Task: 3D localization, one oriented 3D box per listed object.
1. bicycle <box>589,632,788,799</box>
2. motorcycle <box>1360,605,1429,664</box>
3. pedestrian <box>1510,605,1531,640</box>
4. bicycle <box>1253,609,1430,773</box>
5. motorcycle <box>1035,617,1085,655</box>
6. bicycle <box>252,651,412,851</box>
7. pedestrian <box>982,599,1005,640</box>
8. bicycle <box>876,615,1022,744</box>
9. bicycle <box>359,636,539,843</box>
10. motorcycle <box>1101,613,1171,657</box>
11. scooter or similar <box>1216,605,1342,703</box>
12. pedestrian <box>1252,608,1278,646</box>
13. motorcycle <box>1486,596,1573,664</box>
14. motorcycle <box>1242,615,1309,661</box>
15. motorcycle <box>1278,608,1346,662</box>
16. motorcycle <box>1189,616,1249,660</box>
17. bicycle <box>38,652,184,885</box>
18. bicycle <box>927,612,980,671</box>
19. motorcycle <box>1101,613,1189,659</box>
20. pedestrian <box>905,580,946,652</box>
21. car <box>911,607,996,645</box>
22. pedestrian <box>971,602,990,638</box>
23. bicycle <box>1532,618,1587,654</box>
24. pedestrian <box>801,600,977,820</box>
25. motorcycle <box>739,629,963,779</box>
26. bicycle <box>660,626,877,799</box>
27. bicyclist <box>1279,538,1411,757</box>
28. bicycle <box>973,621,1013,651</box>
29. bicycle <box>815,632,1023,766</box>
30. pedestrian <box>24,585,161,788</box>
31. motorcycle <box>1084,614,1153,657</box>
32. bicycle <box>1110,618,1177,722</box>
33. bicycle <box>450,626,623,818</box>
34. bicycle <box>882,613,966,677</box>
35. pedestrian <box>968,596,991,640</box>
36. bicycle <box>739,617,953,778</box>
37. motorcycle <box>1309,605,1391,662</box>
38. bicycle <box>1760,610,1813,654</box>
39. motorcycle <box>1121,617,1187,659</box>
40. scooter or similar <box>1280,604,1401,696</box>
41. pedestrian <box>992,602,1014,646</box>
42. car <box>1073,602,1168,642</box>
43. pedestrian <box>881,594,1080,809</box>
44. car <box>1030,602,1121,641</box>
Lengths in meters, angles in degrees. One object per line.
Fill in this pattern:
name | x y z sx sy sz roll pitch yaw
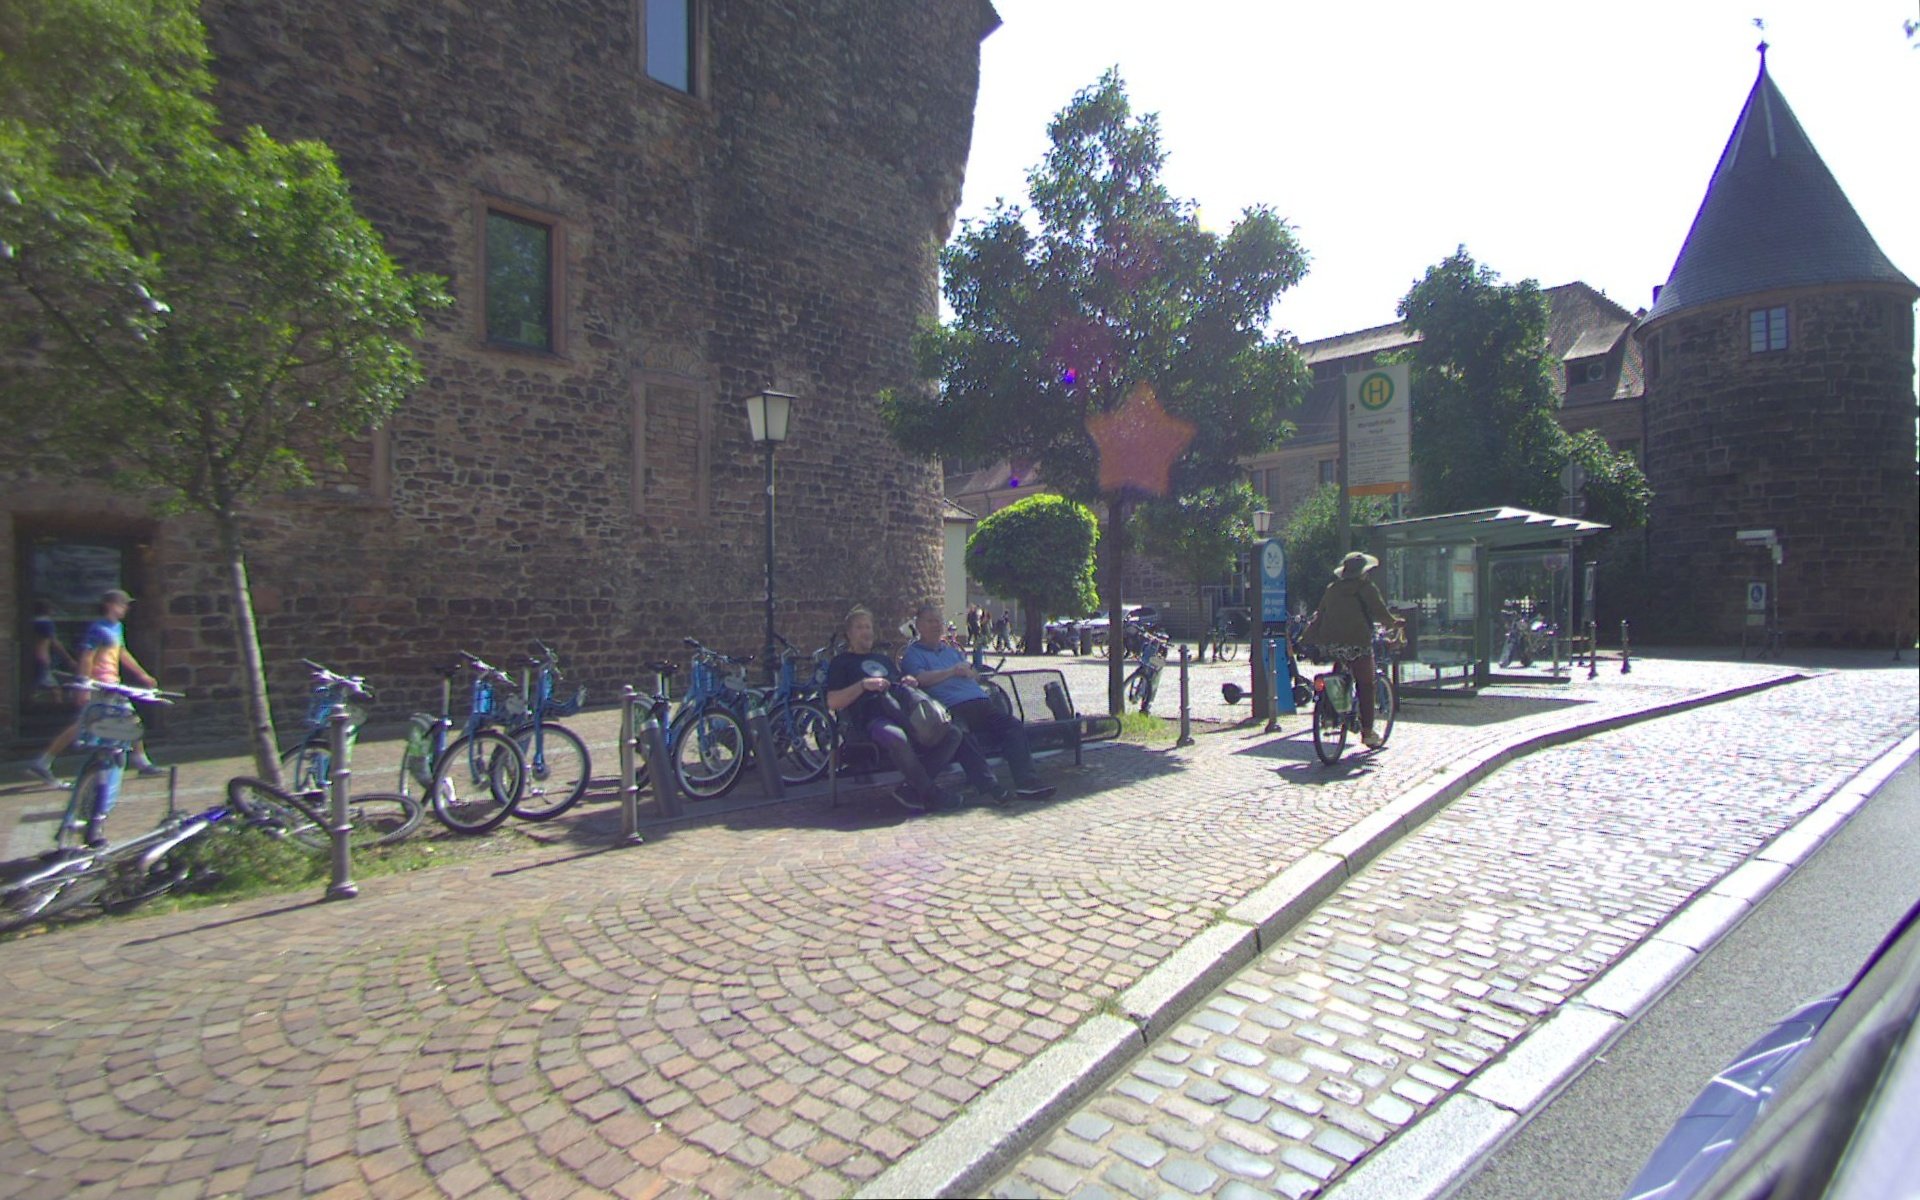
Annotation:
bicycle | -2.126 0.809 7.705 0.594 1.099 2.082 1 -3 -42
motorcycle | 9.919 0.760 23.054 2.180 1.252 0.658 0 -1 -45
pedestrian | 20.421 0.813 36.887 0.661 1.247 0.774 -1 -1 29
bicycle | 3.132 0.658 8.189 0.688 1.144 1.979 -1 -1 41
motorcycle | 3.248 1.168 32.813 0.597 1.175 1.887 -1 -3 43
bicycle | -4.194 0.910 6.703 0.597 1.125 1.795 1 -3 -41
pedestrian | 1.370 0.793 41.204 0.661 1.650 0.661 1 -1 -36
bicycle | -0.151 0.849 10.505 0.711 1.214 1.552 0 -7 -34
bicycle | -3.574 0.866 6.976 0.597 1.214 2.082 1 -3 -41
motorcycle | 5.333 1.050 30.596 2.003 1.252 0.600 -1 -1 -16
scooter or similar | 4.220 0.711 13.469 0.640 1.231 1.432 0 -3 -41
pedestrian | 11.900 1.062 39.480 0.660 1.439 0.663 -2 0 -10
motorcycle | 11.692 0.608 20.723 2.486 1.310 0.883 1 -3 -45
motorcycle | 8.251 0.971 26.421 1.874 1.108 0.875 0 -1 -45
motorcycle | 8.406 0.824 24.120 1.774 1.247 0.671 1 -2 -39
motorcycle | 6.803 0.984 26.530 1.897 1.095 0.630 2 -2 -45
bicycle | -4.927 0.872 5.858 0.553 1.125 1.795 1 -3 -41
bicycle | -0.109 0.861 21.411 0.540 1.167 1.915 -1 0 18
motorcycle | 4.970 0.966 27.341 0.861 1.162 2.343 0 -1 -37
pedestrian | -0.917 0.417 27.039 0.747 1.869 0.797 0 -1 -41
car | -0.347 1.130 45.661 1.766 1.549 4.143 -2 2 -35
pedestrian | 1.039 0.993 50.909 0.698 1.763 0.661 1 -1 -36
bicycle | 17.699 1.045 29.855 1.679 1.015 0.660 0 -1 -31
pedestrian | -0.476 0.661 6.592 0.682 1.298 0.961 0 -1 -42
motorcycle | -0.994 0.821 8.657 0.763 1.118 2.206 1 -3 -42
bicycle | -1.606 0.831 8.186 0.763 1.214 2.082 1 -3 -42
bicyclist | 3.125 0.361 8.198 0.708 1.649 0.873 -1 -1 42
bicycle | 1.201 1.277 36.108 0.421 1.027 1.688 -1 -1 43
bicycle | -0.424 0.842 9.225 0.787 1.080 2.026 1 -3 -42
pedestrian | -8.146 0.762 9.528 0.944 1.782 0.759 0 -1 -41
motorcycle | 4.872 1.079 31.121 2.003 1.252 0.600 -1 -1 -15
bicycle | 2.274 0.810 12.386 0.540 1.146 1.727 -1 -1 19
bicycle | -3.137 0.811 7.376 0.518 1.214 2.082 1 -3 -42
bicycle | -0.677 0.861 19.877 0.524 1.175 1.899 -1 -1 39
pedestrian | 0.778 0.710 40.837 0.661 1.763 0.661 1 -1 -36
bicycle | -1.036 0.775 8.706 0.763 1.214 2.082 1 -3 -42
motorcycle | 9.079 0.755 23.497 2.230 1.252 0.740 -1 -1 -39
bicycle | 22.964 0.869 28.122 1.812 1.167 0.844 0 -1 -42
motorcycle | 5.661 1.101 29.550 1.983 1.159 0.742 -1 -3 -38
scooter or similar | 5.370 0.706 14.354 0.640 1.231 1.432 0 -3 -41
pedestrian | 1.726 0.955 40.586 0.595 1.763 0.661 1 -1 -36
car | 7.629 1.011 48.038 4.346 1.636 1.998 -3 2 -38
pedestrian | 0.117 0.630 6.927 0.682 1.324 1.249 0 -1 -42
car | 5.803 1.039 50.600 4.346 1.636 1.998 -3 2 -38
